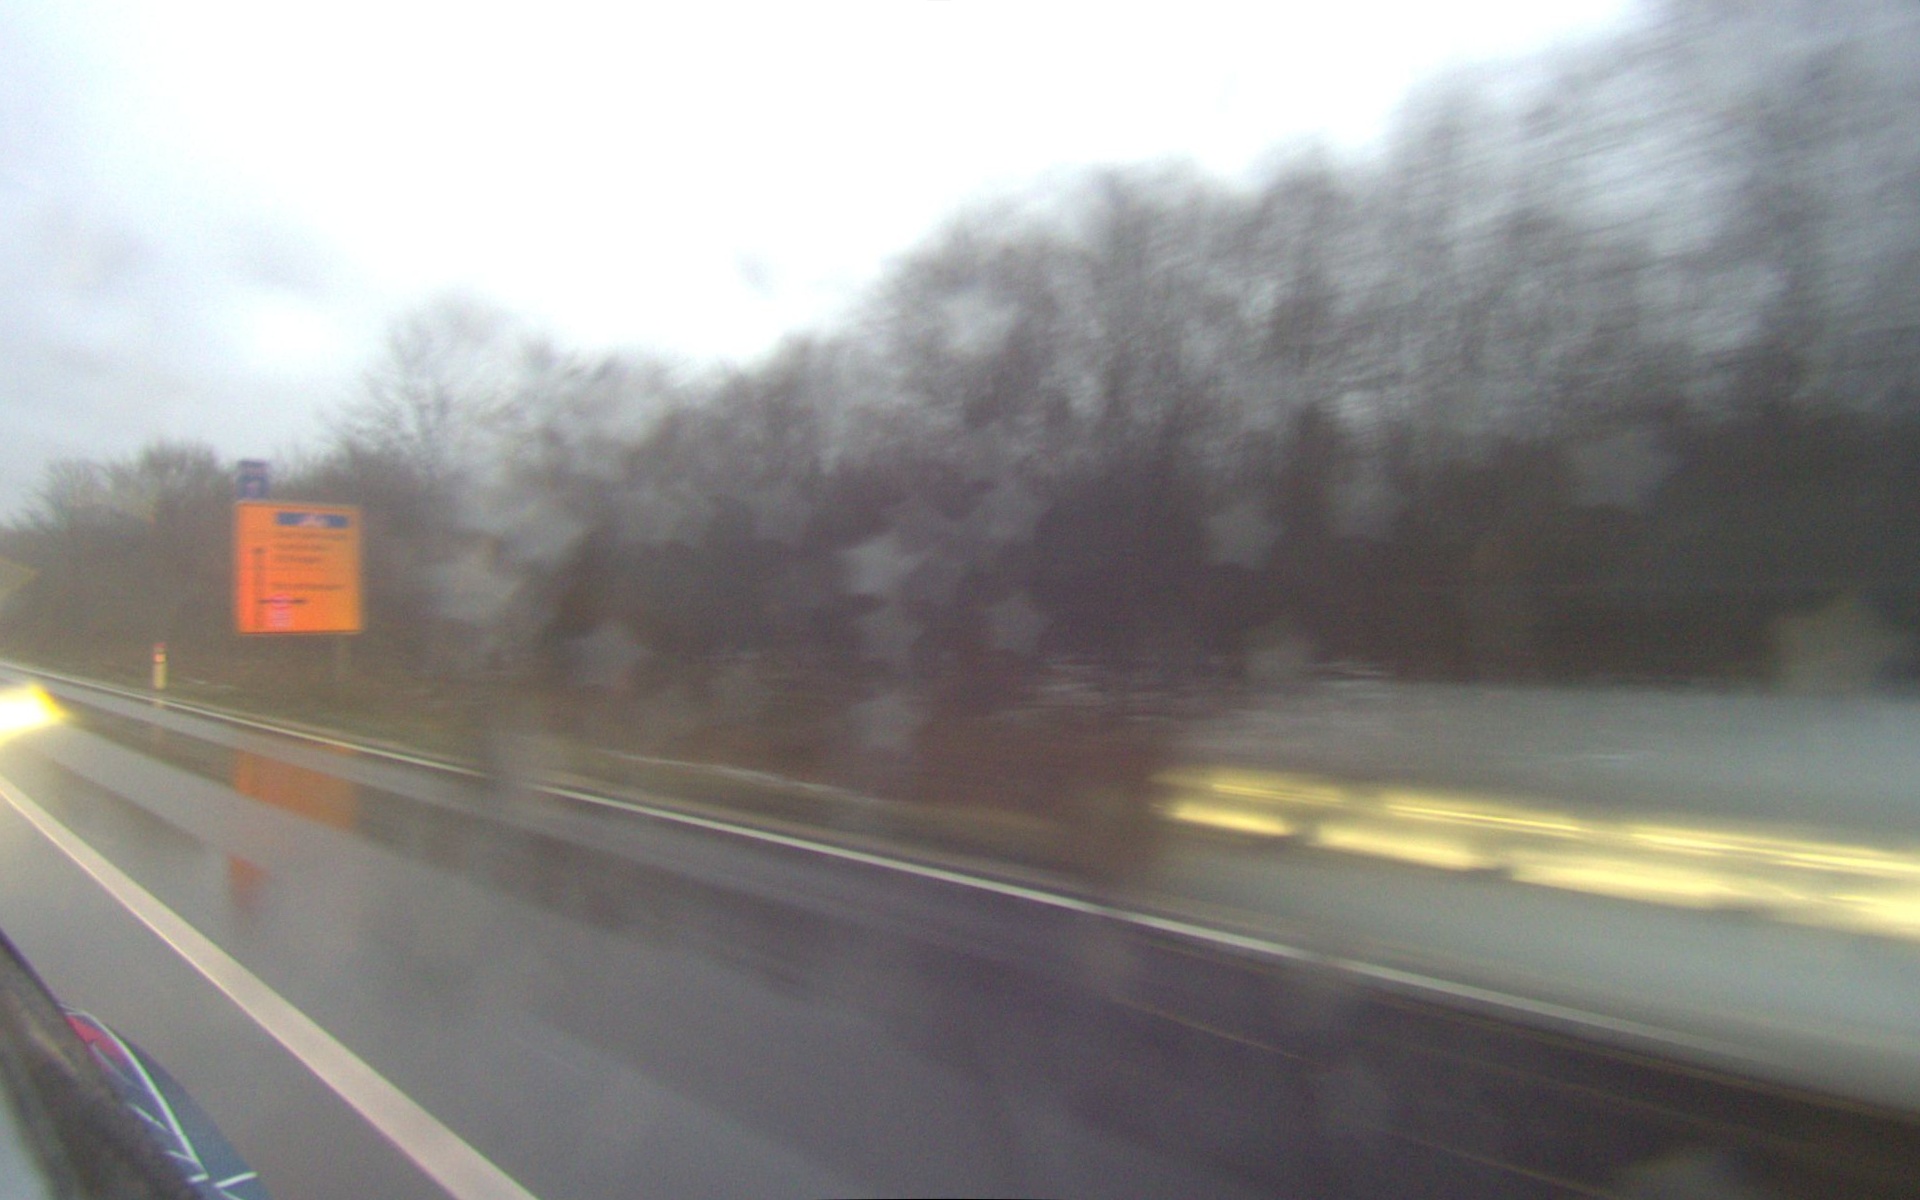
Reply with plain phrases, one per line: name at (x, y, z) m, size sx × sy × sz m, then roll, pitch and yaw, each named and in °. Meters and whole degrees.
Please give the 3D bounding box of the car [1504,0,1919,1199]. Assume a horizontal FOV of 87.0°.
car at (4.205, -0.053, 0.500) m, size 6.649 × 2.832 × 2.052 m, roll -1°, pitch -1°, yaw 41°
